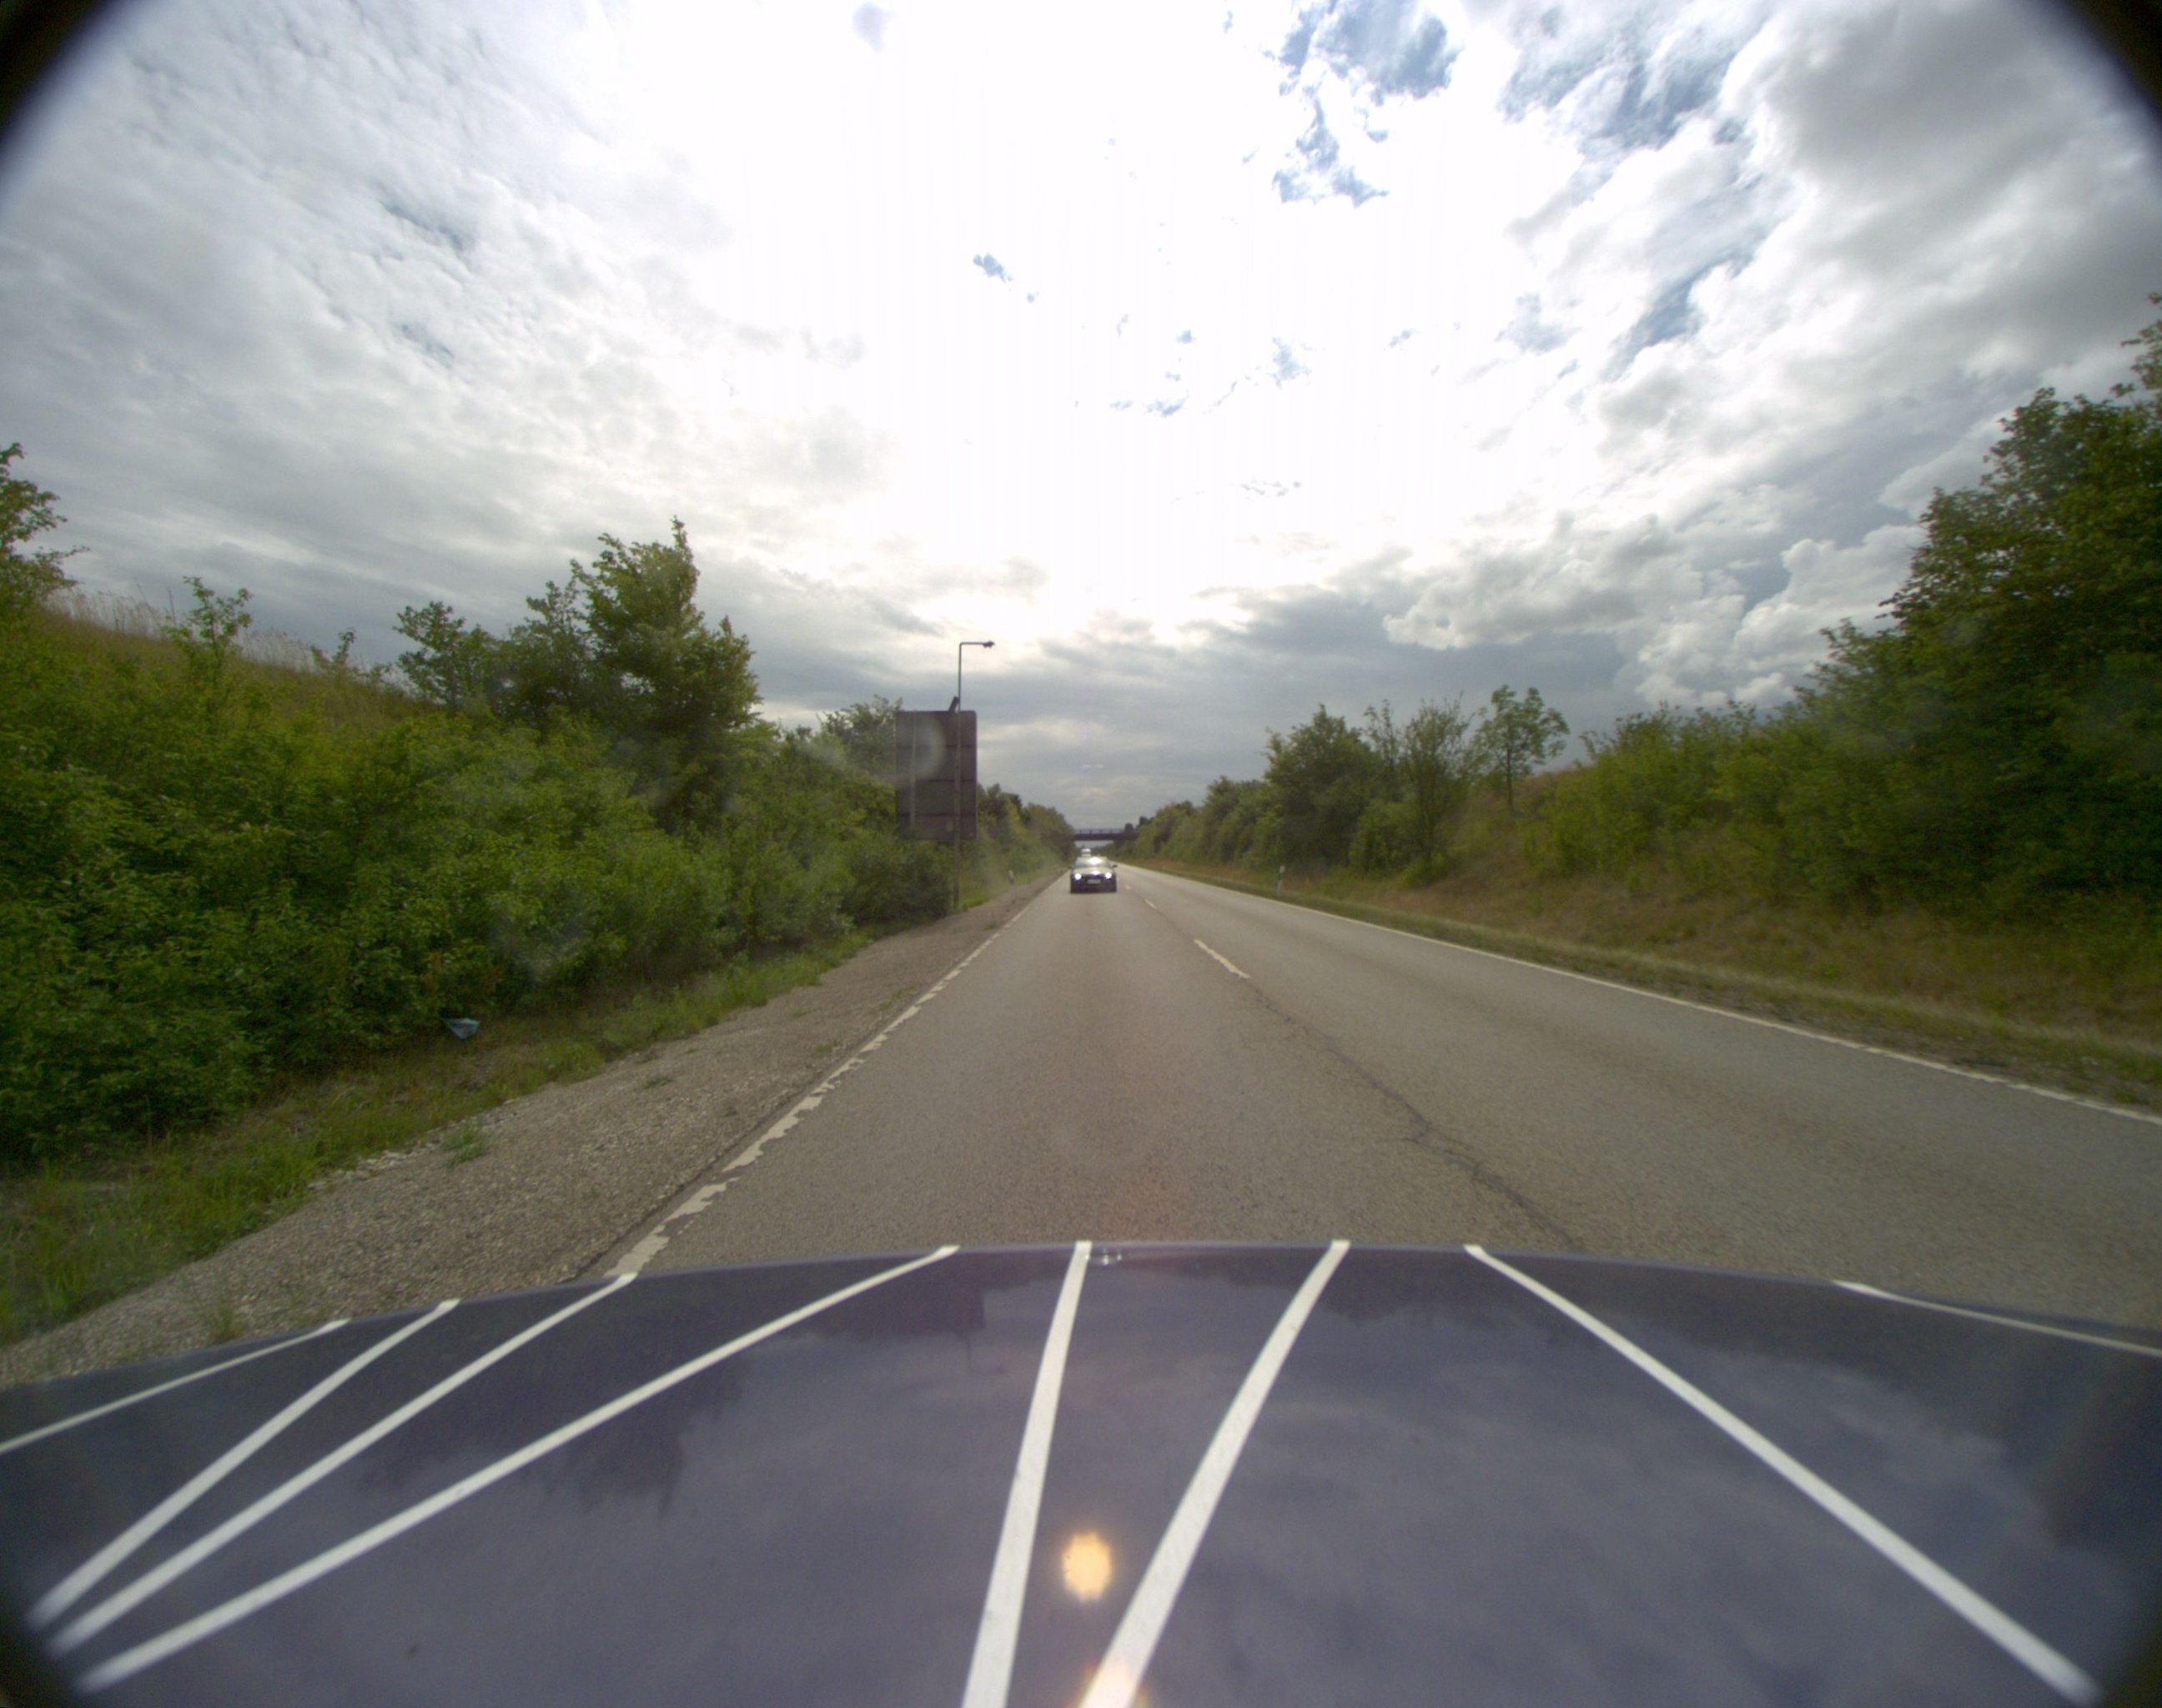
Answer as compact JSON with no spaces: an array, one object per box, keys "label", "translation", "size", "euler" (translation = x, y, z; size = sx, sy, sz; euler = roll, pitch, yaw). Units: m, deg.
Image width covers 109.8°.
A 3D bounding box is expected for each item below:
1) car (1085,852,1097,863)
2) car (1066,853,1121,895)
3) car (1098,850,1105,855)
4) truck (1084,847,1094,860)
[{"label":"car","translation":[1.501,0.491,119.203],"size":[1.870,1.597,3.999],"euler":[-1,0,0]},{"label":"car","translation":[0.483,0.745,30.256],"size":[1.998,1.436,4.640],"euler":[-2,1,0]},{"label":"car","translation":[6.579,-0.438,244.319],"size":[1.833,1.456,4.411],"euler":[-1,0,1]},{"label":"truck","translation":[1.601,-0.068,151.228],"size":[1.802,2.518,6.685],"euler":[-2,1,0]}]
